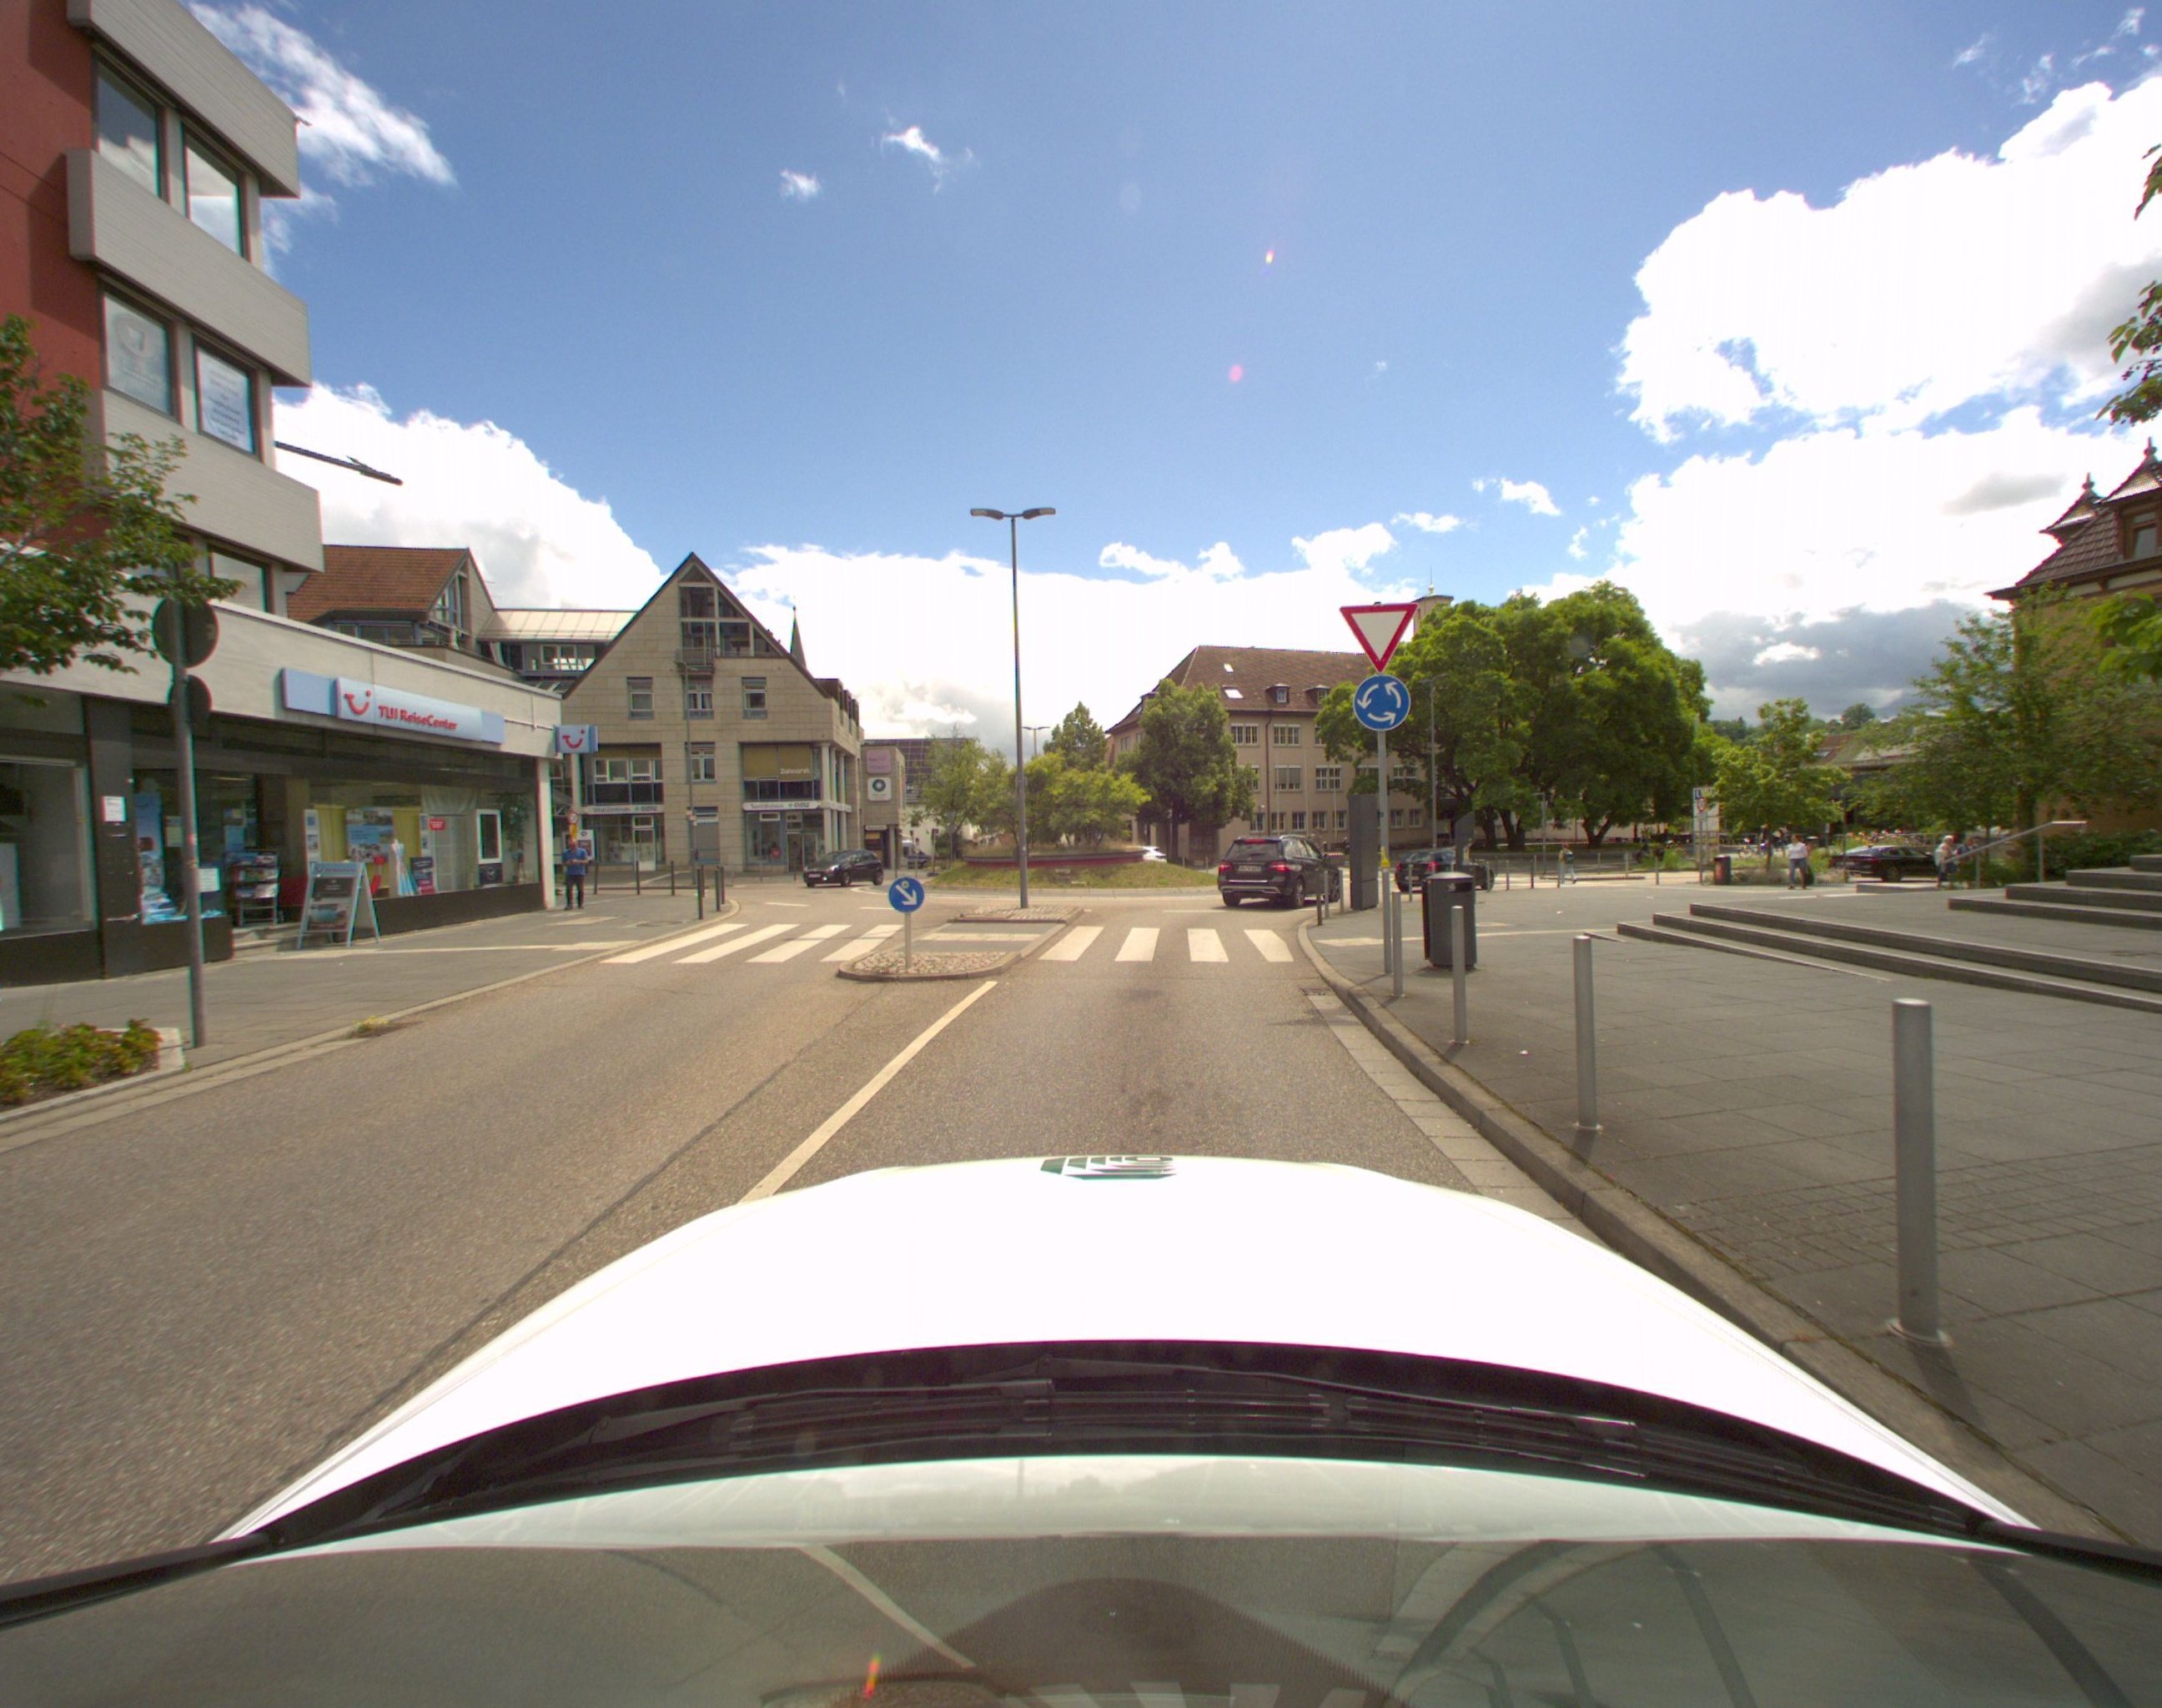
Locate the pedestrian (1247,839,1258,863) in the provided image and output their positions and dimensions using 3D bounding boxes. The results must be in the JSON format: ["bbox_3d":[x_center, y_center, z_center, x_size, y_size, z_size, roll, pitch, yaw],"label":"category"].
[{"bbox_3d":[11.299,-0.221,53.652,0.634,1.523,0.577,0,4,1],"label":"pedestrian"}]

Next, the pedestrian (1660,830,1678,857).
[{"bbox_3d":[34.453,-0.622,47.706,0.616,1.577,0.579,-1,0,-19],"label":"pedestrian"}]

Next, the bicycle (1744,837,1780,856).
[{"bbox_3d":[36.625,-0.415,43.816,0.498,0.997,1.613,-1,1,-7],"label":"bicycle"}]

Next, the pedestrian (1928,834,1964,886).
[{"bbox_3d":[27.964,0.196,26.324,0.547,1.629,0.681,-1,-1,23],"label":"pedestrian"}]

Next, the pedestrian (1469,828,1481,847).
[{"bbox_3d":[30.959,-1.268,64.010,0.693,1.492,0.818,0,0,12],"label":"pedestrian"}]

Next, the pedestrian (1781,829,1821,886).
[{"bbox_3d":[22.232,0.103,25.143,0.779,1.745,0.700,-1,0,-31],"label":"pedestrian"}]

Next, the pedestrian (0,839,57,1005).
[{"bbox_3d":[-10.608,0.654,7.877,0.584,1.588,0.639,-1,0,2],"label":"pedestrian"}]

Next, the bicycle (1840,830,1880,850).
[{"bbox_3d":[43.339,-0.760,45.344,0.577,1.091,1.566,-1,1,-13],"label":"bicycle"}]

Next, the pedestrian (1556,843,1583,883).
[{"bbox_3d":[19.295,0.348,32.172,0.548,1.514,0.788,-2,2,0],"label":"pedestrian"}]

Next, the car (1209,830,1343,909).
[{"bbox_3d":[5.152,0.301,21.030,2.008,1.727,4.462,0,2,32],"label":"car"}]

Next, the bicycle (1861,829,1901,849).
[{"bbox_3d":[44.853,-0.856,45.683,0.577,1.091,1.566,-1,1,-13],"label":"bicycle"}]

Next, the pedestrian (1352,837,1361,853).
[{"bbox_3d":[20.785,-0.688,61.434,0.482,1.222,0.584,0,0,33],"label":"pedestrian"}]

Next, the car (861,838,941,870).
[{"bbox_3d":[-15.259,0.011,69.119,6.312,2.560,2.189,0,-3,-24],"label":"car"}]

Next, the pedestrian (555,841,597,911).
[{"bbox_3d":[-11.705,0.498,18.885,0.565,1.603,0.606,-1,1,-2],"label":"pedestrian"}]

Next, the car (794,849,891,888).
[{"bbox_3d":[-9.414,0.599,32.473,1.685,1.419,4.137,-2,-2,17],"label":"car"}]

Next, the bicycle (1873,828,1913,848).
[{"bbox_3d":[45.771,-0.919,45.914,0.577,1.091,1.566,-1,1,-13],"label":"bicycle"}]

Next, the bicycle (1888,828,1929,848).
[{"bbox_3d":[46.709,-0.889,45.982,0.577,1.091,1.566,-1,1,-13],"label":"bicycle"}]

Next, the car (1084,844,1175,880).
[{"bbox_3d":[2.470,0.394,40.794,4.225,1.576,1.856,-3,0,13],"label":"car"}]

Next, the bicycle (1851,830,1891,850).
[{"bbox_3d":[44.096,-0.794,45.474,0.538,1.069,1.566,-1,1,-13],"label":"bicycle"}]

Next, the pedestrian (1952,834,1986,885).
[{"bbox_3d":[28.674,0.173,26.302,0.506,1.629,0.506,-1,-1,2],"label":"pedestrian"}]

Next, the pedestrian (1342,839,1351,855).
[{"bbox_3d":[19.854,-0.519,60.935,0.482,1.182,0.584,0,0,33],"label":"pedestrian"}]

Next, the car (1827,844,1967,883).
[{"bbox_3d":[31.781,0.360,31.752,4.364,1.406,1.854,-1,0,-13],"label":"car"}]

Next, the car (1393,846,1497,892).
[{"bbox_3d":[12.233,0.470,27.279,3.856,1.383,1.595,-1,0,-39],"label":"car"}]

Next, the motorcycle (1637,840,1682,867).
[{"bbox_3d":[30.581,-0.037,43.104,0.581,1.289,2.131,-3,3,-11],"label":"motorcycle"}]

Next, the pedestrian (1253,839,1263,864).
[{"bbox_3d":[11.531,-0.162,53.005,0.570,1.608,0.438,0,4,1],"label":"pedestrian"}]
